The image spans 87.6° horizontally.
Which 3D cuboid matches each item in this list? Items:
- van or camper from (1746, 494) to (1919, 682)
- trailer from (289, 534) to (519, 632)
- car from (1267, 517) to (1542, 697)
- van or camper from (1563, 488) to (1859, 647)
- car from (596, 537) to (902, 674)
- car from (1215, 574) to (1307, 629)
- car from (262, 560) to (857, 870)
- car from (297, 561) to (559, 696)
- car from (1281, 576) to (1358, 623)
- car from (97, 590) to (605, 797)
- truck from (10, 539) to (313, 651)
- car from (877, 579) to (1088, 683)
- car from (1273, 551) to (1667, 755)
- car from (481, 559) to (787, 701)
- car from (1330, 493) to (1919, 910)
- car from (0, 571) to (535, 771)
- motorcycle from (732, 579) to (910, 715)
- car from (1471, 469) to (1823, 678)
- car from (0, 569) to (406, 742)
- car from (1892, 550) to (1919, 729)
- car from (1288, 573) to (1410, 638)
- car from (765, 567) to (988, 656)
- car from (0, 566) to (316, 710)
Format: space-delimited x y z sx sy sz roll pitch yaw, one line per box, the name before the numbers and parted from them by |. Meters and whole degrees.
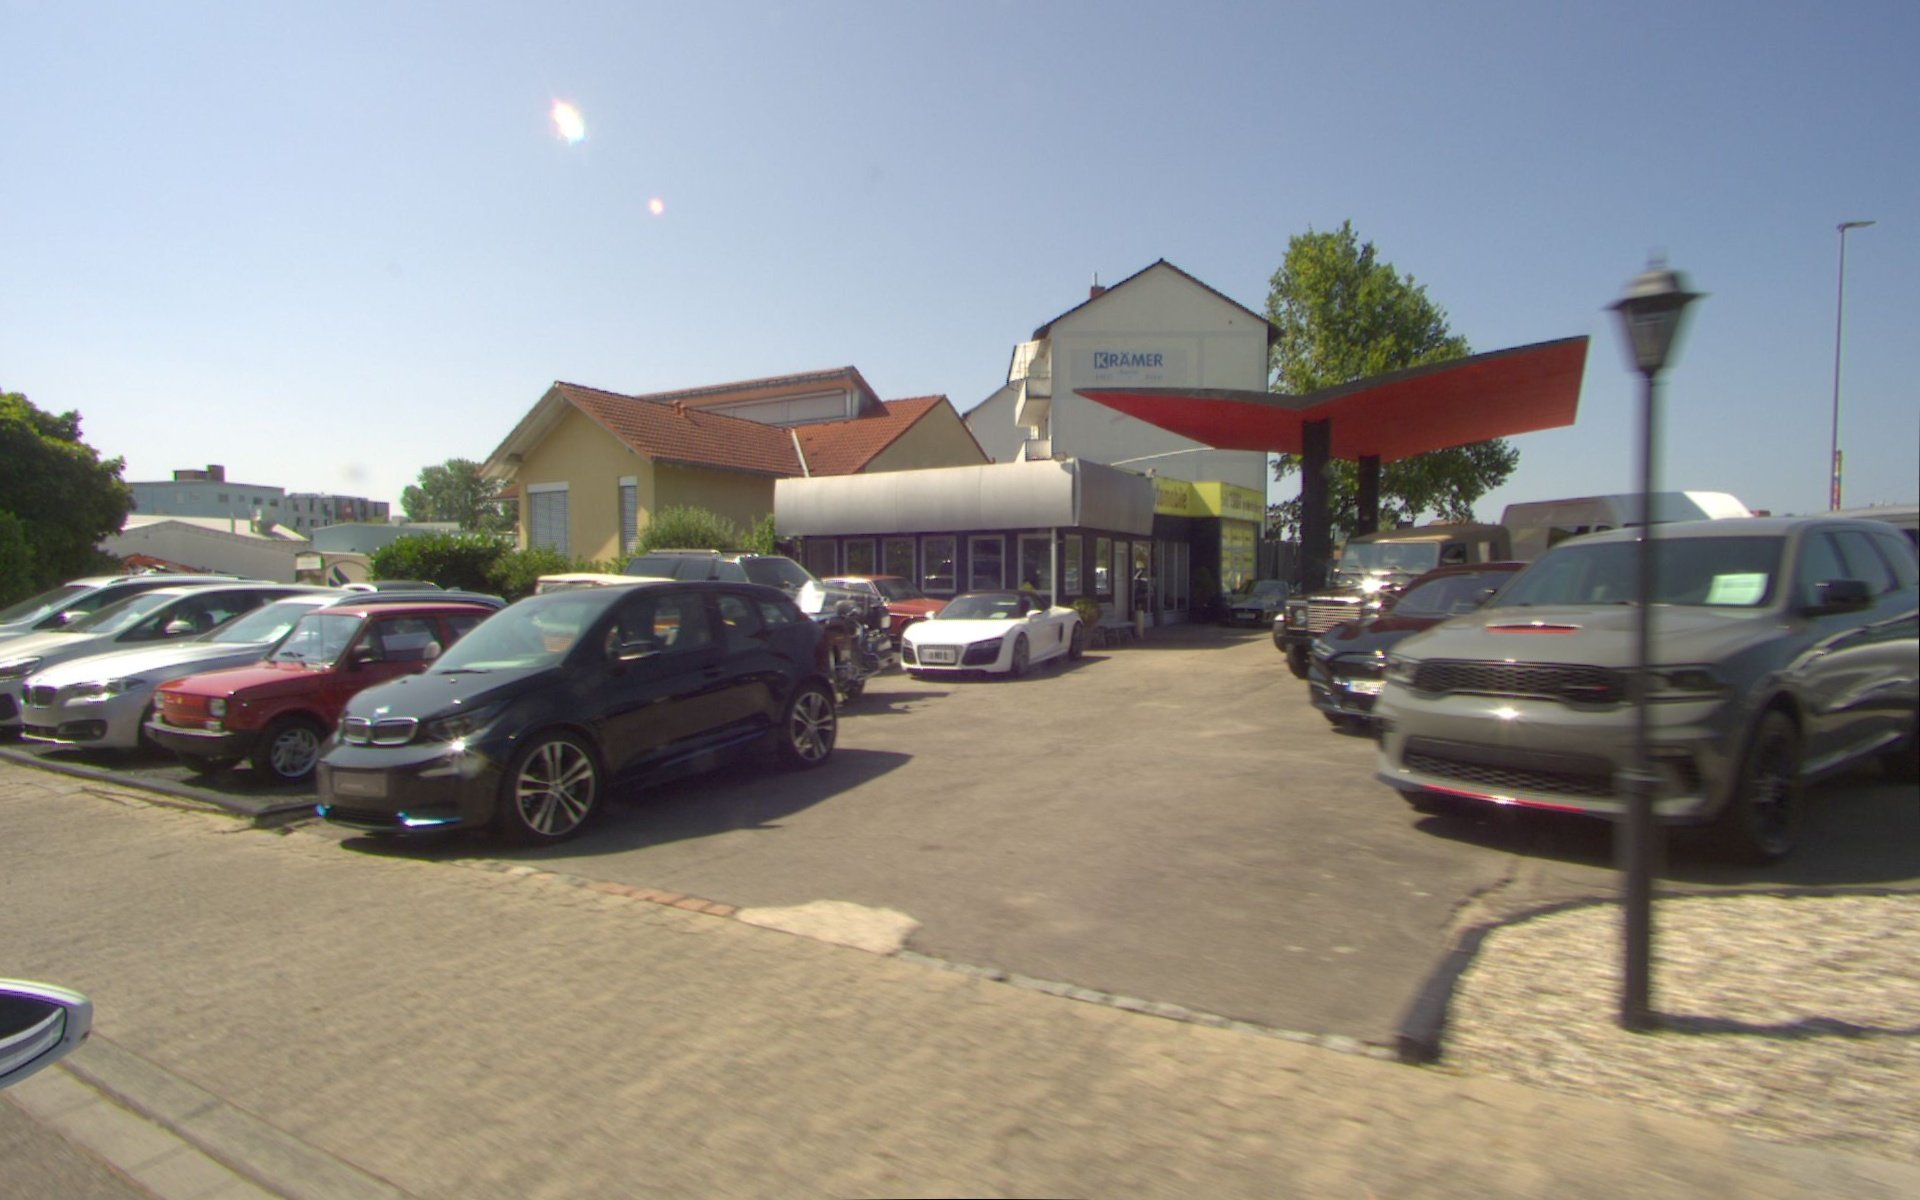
van or camper | 12.807 -0.158 12.616 2.071 2.291 5.503 0 1 8
trailer | -24.309 -0.788 44.299 3.027 3.915 8.304 1 2 36
car | 6.460 -0.018 14.329 4.526 2.181 1.907 -3 4 -42
van or camper | 13.289 -0.563 18.232 1.961 2.469 4.932 -1 1 5
car | -3.571 0.068 16.830 4.829 2.041 1.991 0 2 27
car | 8.499 -0.005 28.159 1.730 1.399 3.472 2 2 30
car | -2.582 0.557 7.386 1.733 1.646 3.796 0 2 29
car | -8.419 0.427 15.828 3.733 1.884 1.990 -1 0 31
car | 11.585 -0.060 32.169 1.730 1.399 3.472 2 2 30
car | -5.123 0.649 8.922 1.535 1.353 3.543 0 2 29
truck | -29.273 -0.231 37.219 2.912 3.660 8.253 1 1 33
car | 0.520 0.391 16.097 1.917 1.336 4.113 0 3 25
car | 5.401 0.361 10.367 4.521 1.658 1.910 -3 2 -38
car | -4.630 0.357 14.166 3.940 1.751 1.990 0 2 30
car | 4.723 0.373 6.466 4.931 1.786 1.912 -2 2 -35
car | -6.990 0.541 10.599 1.866 1.518 4.398 -1 3 25
motorcycle | -1.604 0.492 12.289 0.993 1.453 2.683 0 2 20
car | 10.518 -0.354 16.141 2.216 2.714 6.015 0 1 8
car | -9.275 0.499 11.892 1.866 1.549 4.398 -1 3 25
car | 9.013 0.357 6.775 1.888 1.555 4.204 -1 1 8
car | 9.748 0.081 24.906 1.899 1.462 4.305 0 2 34
car | -1.657 0.194 19.889 3.935 1.618 1.992 0 2 26
car | -11.298 0.412 13.186 1.815 1.676 4.397 0 1 28
